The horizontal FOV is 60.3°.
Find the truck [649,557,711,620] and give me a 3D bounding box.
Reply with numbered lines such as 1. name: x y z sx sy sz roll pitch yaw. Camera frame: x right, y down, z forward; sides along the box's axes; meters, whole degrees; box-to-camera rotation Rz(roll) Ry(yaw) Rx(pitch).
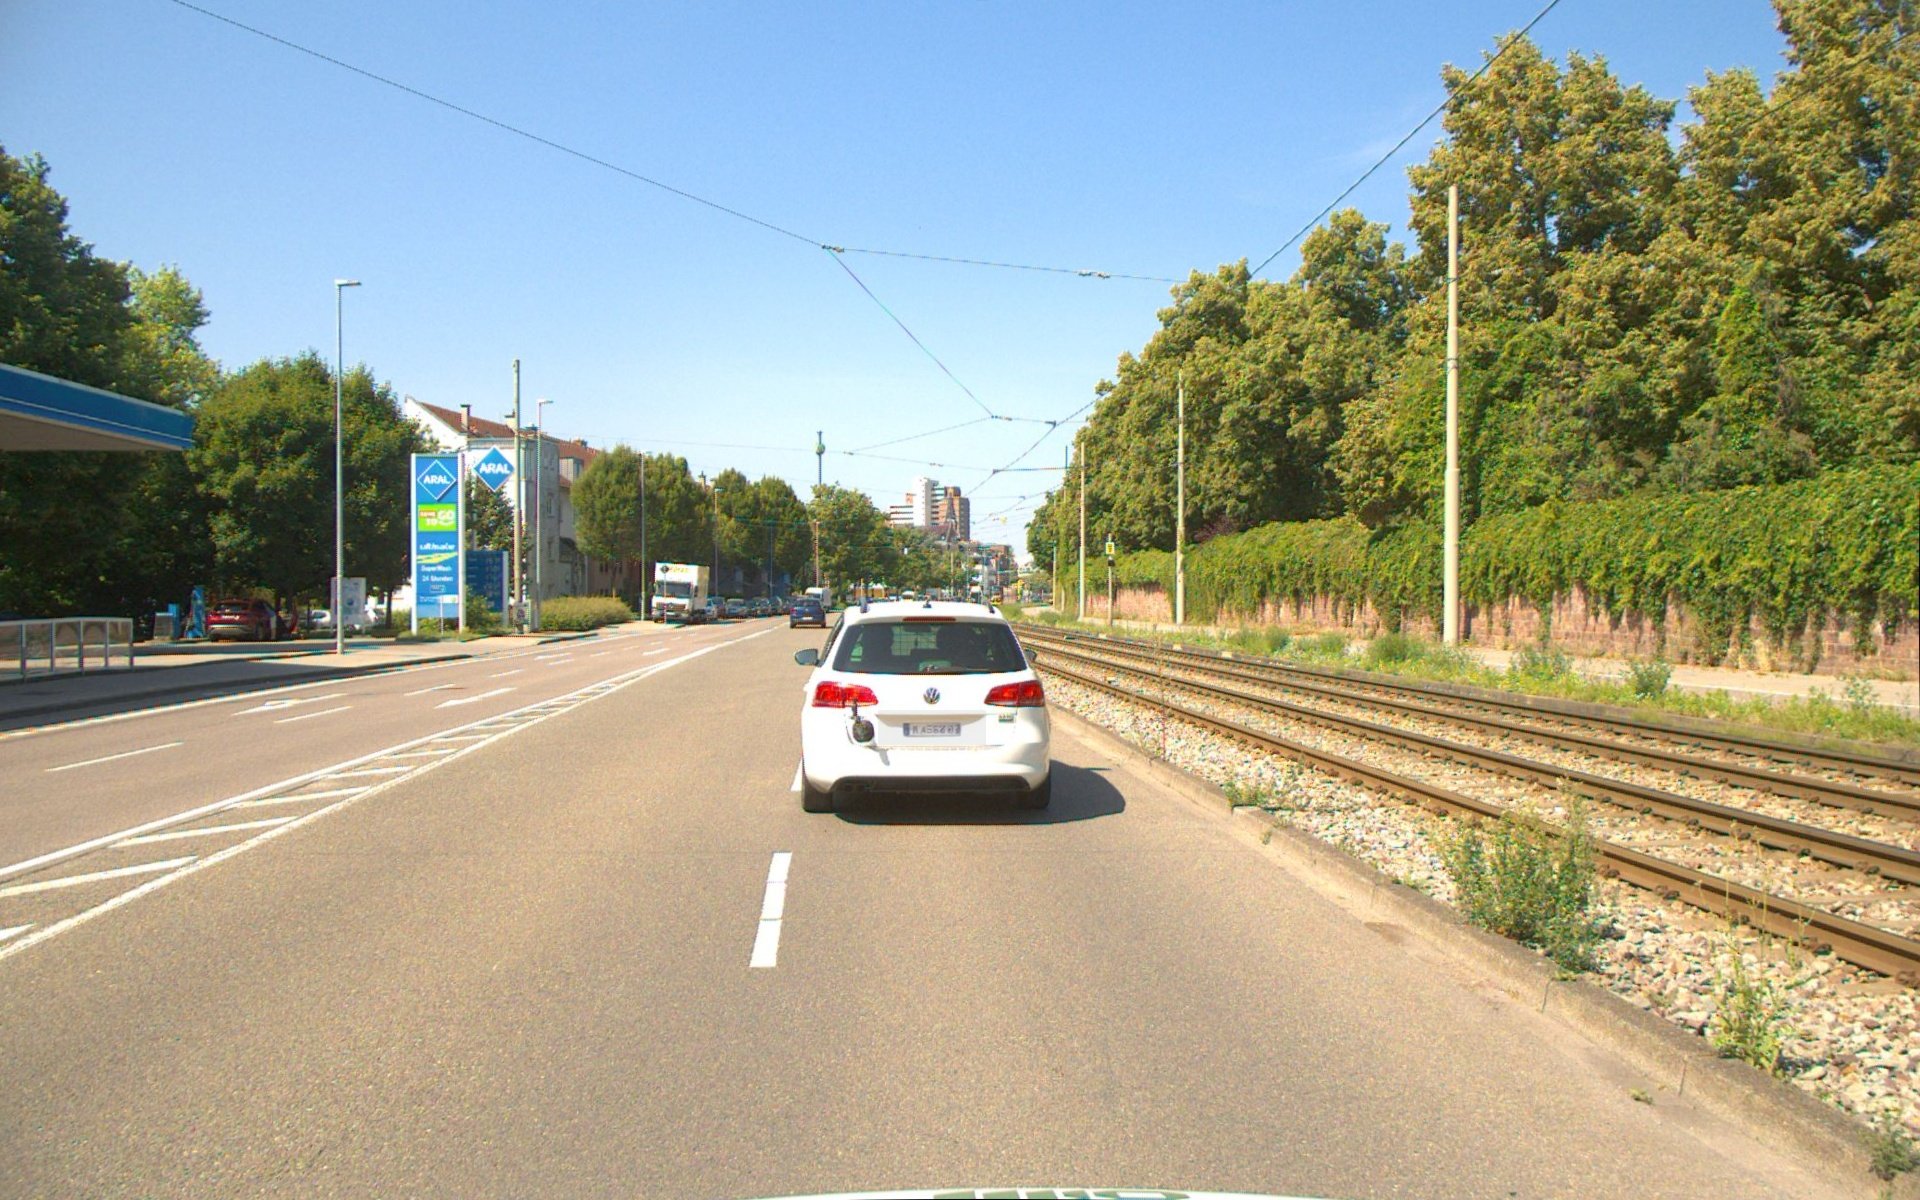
1. truck: -16.938 -0.655 100.642 2.614 3.592 8.585 1 0 -3

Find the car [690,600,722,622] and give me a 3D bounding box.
1. car: -17.466 0.725 113.882 1.722 1.454 4.279 1 0 -3

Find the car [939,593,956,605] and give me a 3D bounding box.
1. car: -1.582 -0.168 207.366 1.762 1.486 4.002 1 0 4

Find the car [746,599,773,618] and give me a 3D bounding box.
1. car: -17.430 0.742 144.107 1.681 1.653 4.313 1 0 1

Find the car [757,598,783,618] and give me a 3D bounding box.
1. car: -17.134 0.707 149.645 1.733 1.753 4.870 2 0 0

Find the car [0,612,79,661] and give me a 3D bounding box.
1. car: -27.948 1.060 47.882 1.762 1.369 4.245 -1 0 19

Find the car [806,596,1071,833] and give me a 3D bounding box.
1. car: -0.246 0.723 12.714 1.657 1.476 4.456 1 0 -3

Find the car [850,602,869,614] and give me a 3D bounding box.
1. car: -12.415 0.979 204.494 1.663 1.442 4.003 0 0 8

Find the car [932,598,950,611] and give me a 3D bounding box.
1. car: -2.308 0.544 201.684 1.762 1.534 4.002 1 0 4

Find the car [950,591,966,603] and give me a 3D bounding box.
1. car: -0.296 -0.378 215.663 1.762 1.486 4.002 0 0 4

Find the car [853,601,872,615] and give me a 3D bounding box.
1. car: -10.617 0.914 181.032 1.624 1.445 4.311 -2 0 2

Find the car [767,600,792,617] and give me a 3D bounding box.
1. car: -16.873 0.805 155.124 1.655 1.500 4.050 3 0 3

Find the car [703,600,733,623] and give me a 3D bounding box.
1. car: -17.669 0.836 120.801 1.696 1.579 4.316 1 0 -2

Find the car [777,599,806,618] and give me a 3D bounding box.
1. car: -16.276 0.824 160.260 1.762 1.754 4.912 3 0 6

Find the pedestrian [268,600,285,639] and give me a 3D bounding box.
1. pedestrian: -27.017 0.762 65.374 0.488 1.507 0.500 0 0 -3

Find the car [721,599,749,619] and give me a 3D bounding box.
1. car: -17.866 0.700 131.442 1.744 1.509 4.855 1 -1 -2

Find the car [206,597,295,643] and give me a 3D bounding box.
1. car: -27.740 0.758 64.833 1.764 1.597 4.515 -1 1 -4

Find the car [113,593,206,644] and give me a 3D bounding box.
1. car: -41.737 0.966 86.282 4.084 2.582 1.790 -1 0 10

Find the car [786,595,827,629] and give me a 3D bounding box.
1. car: -7.450 0.546 80.477 1.764 1.533 3.999 1 1 -2
